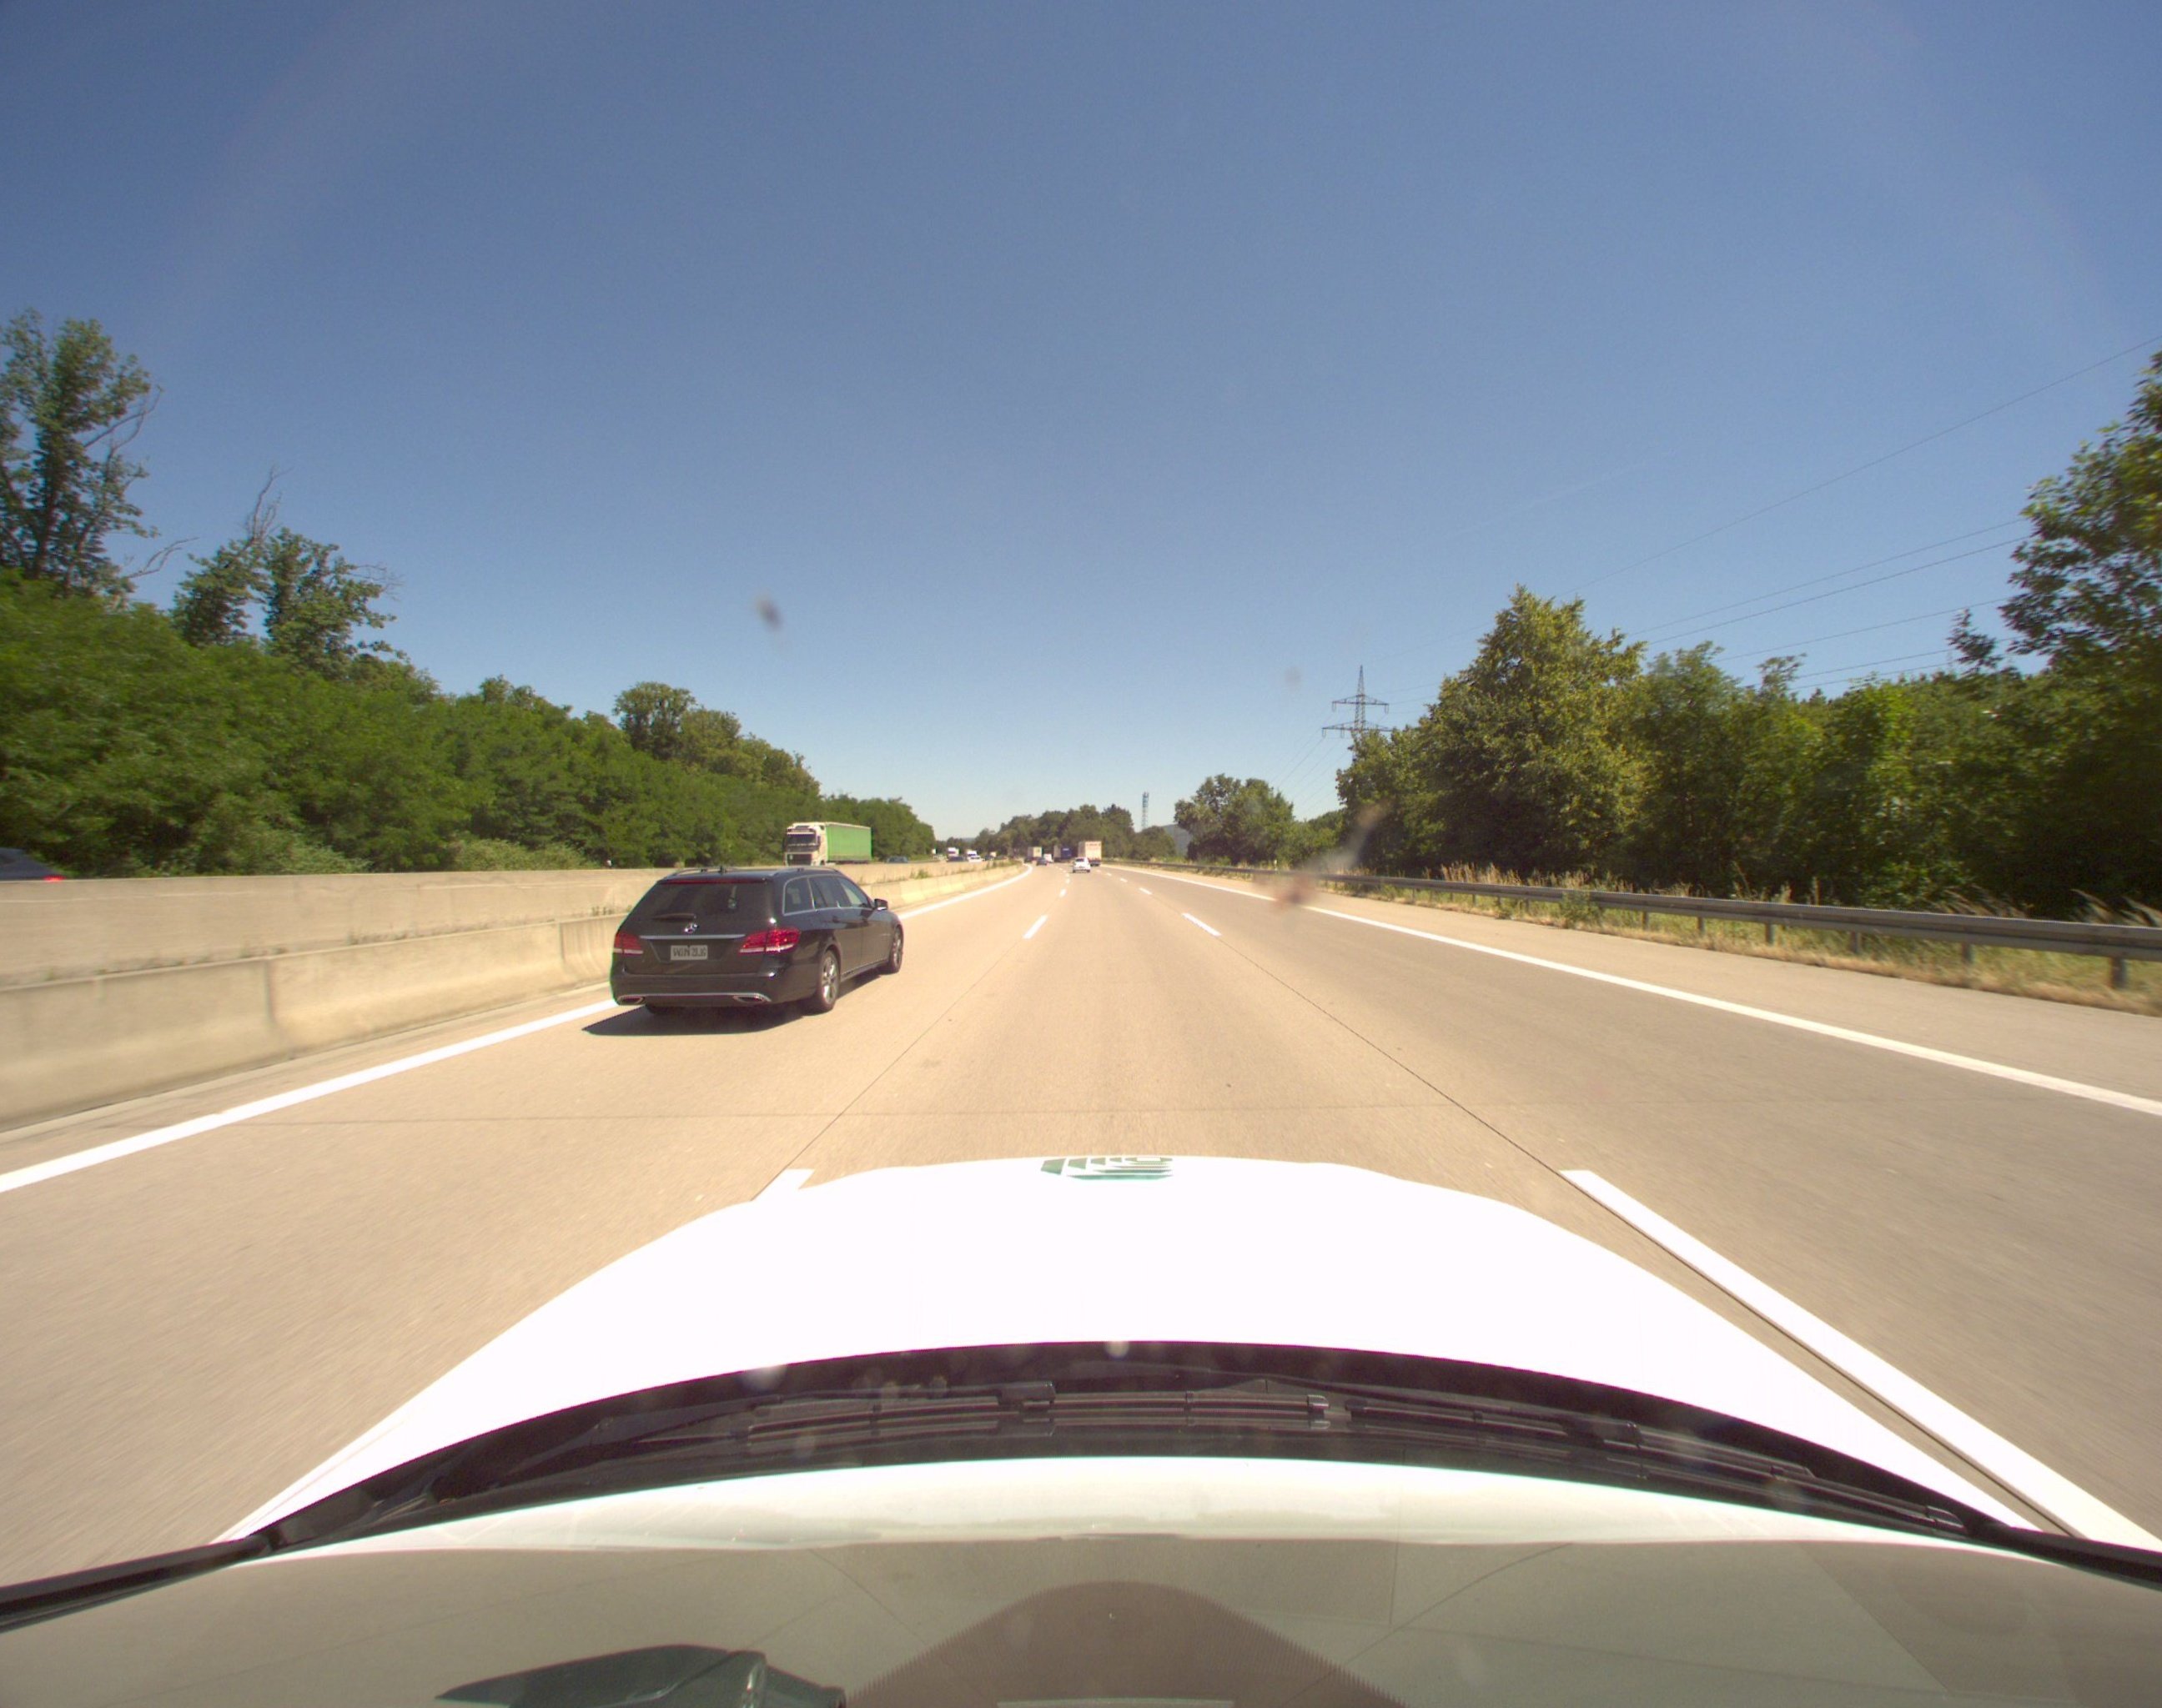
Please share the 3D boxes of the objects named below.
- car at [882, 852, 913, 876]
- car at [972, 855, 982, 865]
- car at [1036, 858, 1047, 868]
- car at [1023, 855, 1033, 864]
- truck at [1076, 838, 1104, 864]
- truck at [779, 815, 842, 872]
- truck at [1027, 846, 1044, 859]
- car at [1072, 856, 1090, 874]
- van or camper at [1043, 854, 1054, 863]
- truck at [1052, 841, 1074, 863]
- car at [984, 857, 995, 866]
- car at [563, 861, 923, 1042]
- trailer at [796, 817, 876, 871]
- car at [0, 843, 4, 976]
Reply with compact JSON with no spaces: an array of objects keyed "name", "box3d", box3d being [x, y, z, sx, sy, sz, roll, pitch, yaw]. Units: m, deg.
[{"name":"car","box3d":[-16.004,0.890,71.219,1.856,2.014,3.998,-1,0,-1]},{"name":"car","box3d":[-21.673,1.290,169.610,1.939,1.959,3.985,-1,0,-11]},{"name":"car","box3d":[-7.139,1.646,146.973,1.608,1.725,3.565,-1,0,-6]},{"name":"car","box3d":[-12.231,1.225,187.520,2.019,1.700,3.992,4,0,-6]},{"name":"truck","box3d":[1.396,-0.393,133.088,3.810,3.889,14.141,-1,0,-2]},{"name":"truck","box3d":[-19.957,-0.745,60.442,2.657,3.935,5.967,-1,0,-1]},{"name":"truck","box3d":[-14.148,-0.481,253.146,3.895,3.983,13.580,-1,0,-9]},{"name":"car","box3d":[0.003,1.054,83.102,1.636,1.662,3.359,3,1,0]},{"name":"van or camper","box3d":[-7.387,1.059,184.628,1.869,1.838,3.983,-1,0,-12]},{"name":"truck","box3d":[-4.265,-0.421,190.921,3.903,4.741,14.017,-1,0,-7]},{"name":"car","box3d":[-17.368,1.475,154.281,1.990,1.616,3.993,-1,0,-5]},{"name":"car","box3d":[-3.446,0.859,9.784,1.884,1.473,5.604,-1,0,1]},{"name":"trailer","box3d":[-20.010,-0.736,67.578,2.674,3.935,13.242,-1,0,0]},{"name":"car","box3d":[-15.807,0.778,9.324,1.693,1.833,3.885,-1,0,3]}]
